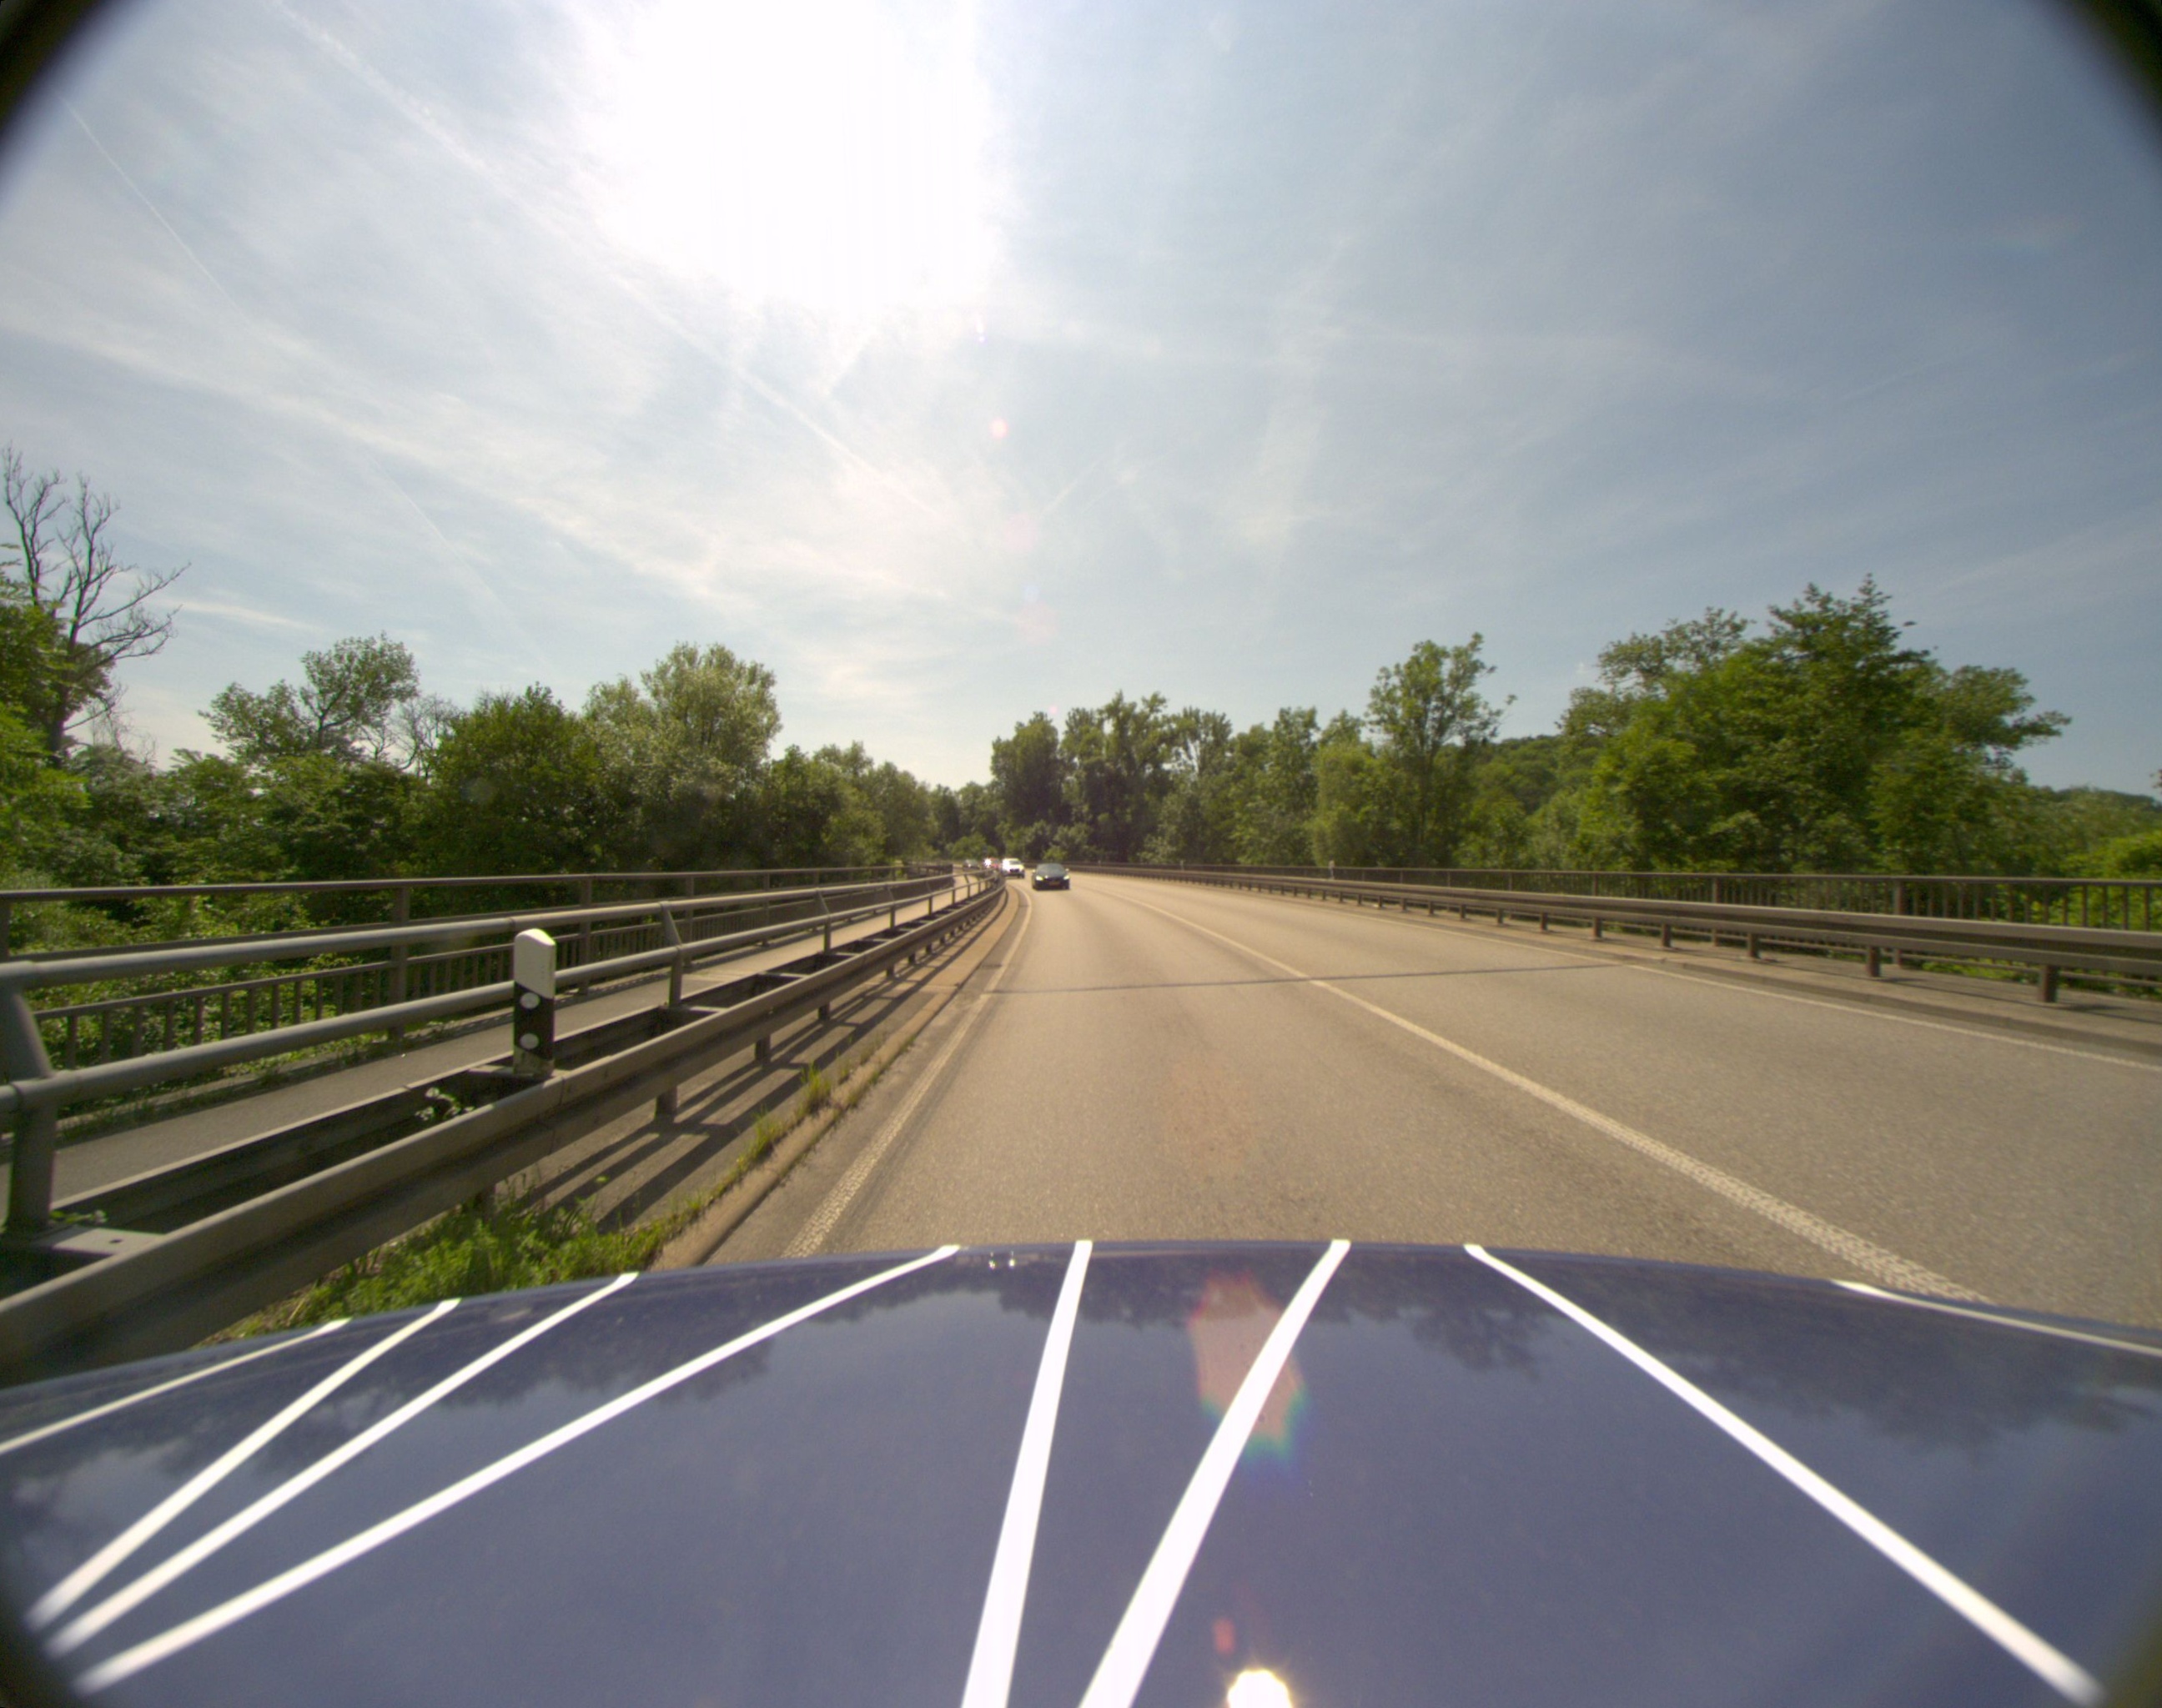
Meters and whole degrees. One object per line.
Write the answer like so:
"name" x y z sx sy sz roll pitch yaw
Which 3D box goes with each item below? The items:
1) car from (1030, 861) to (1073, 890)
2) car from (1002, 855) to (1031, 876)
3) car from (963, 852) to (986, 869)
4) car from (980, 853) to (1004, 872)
"car" -1.646 1.109 40.890 1.910 1.413 3.947 -2 0 -8
"car" -5.518 0.983 64.530 1.911 1.638 3.946 -2 0 -12
"car" -13.235 0.769 93.914 2.001 2.002 3.993 -3 1 -19
"car" -9.172 0.880 78.031 2.001 1.765 3.996 -2 0 -12
